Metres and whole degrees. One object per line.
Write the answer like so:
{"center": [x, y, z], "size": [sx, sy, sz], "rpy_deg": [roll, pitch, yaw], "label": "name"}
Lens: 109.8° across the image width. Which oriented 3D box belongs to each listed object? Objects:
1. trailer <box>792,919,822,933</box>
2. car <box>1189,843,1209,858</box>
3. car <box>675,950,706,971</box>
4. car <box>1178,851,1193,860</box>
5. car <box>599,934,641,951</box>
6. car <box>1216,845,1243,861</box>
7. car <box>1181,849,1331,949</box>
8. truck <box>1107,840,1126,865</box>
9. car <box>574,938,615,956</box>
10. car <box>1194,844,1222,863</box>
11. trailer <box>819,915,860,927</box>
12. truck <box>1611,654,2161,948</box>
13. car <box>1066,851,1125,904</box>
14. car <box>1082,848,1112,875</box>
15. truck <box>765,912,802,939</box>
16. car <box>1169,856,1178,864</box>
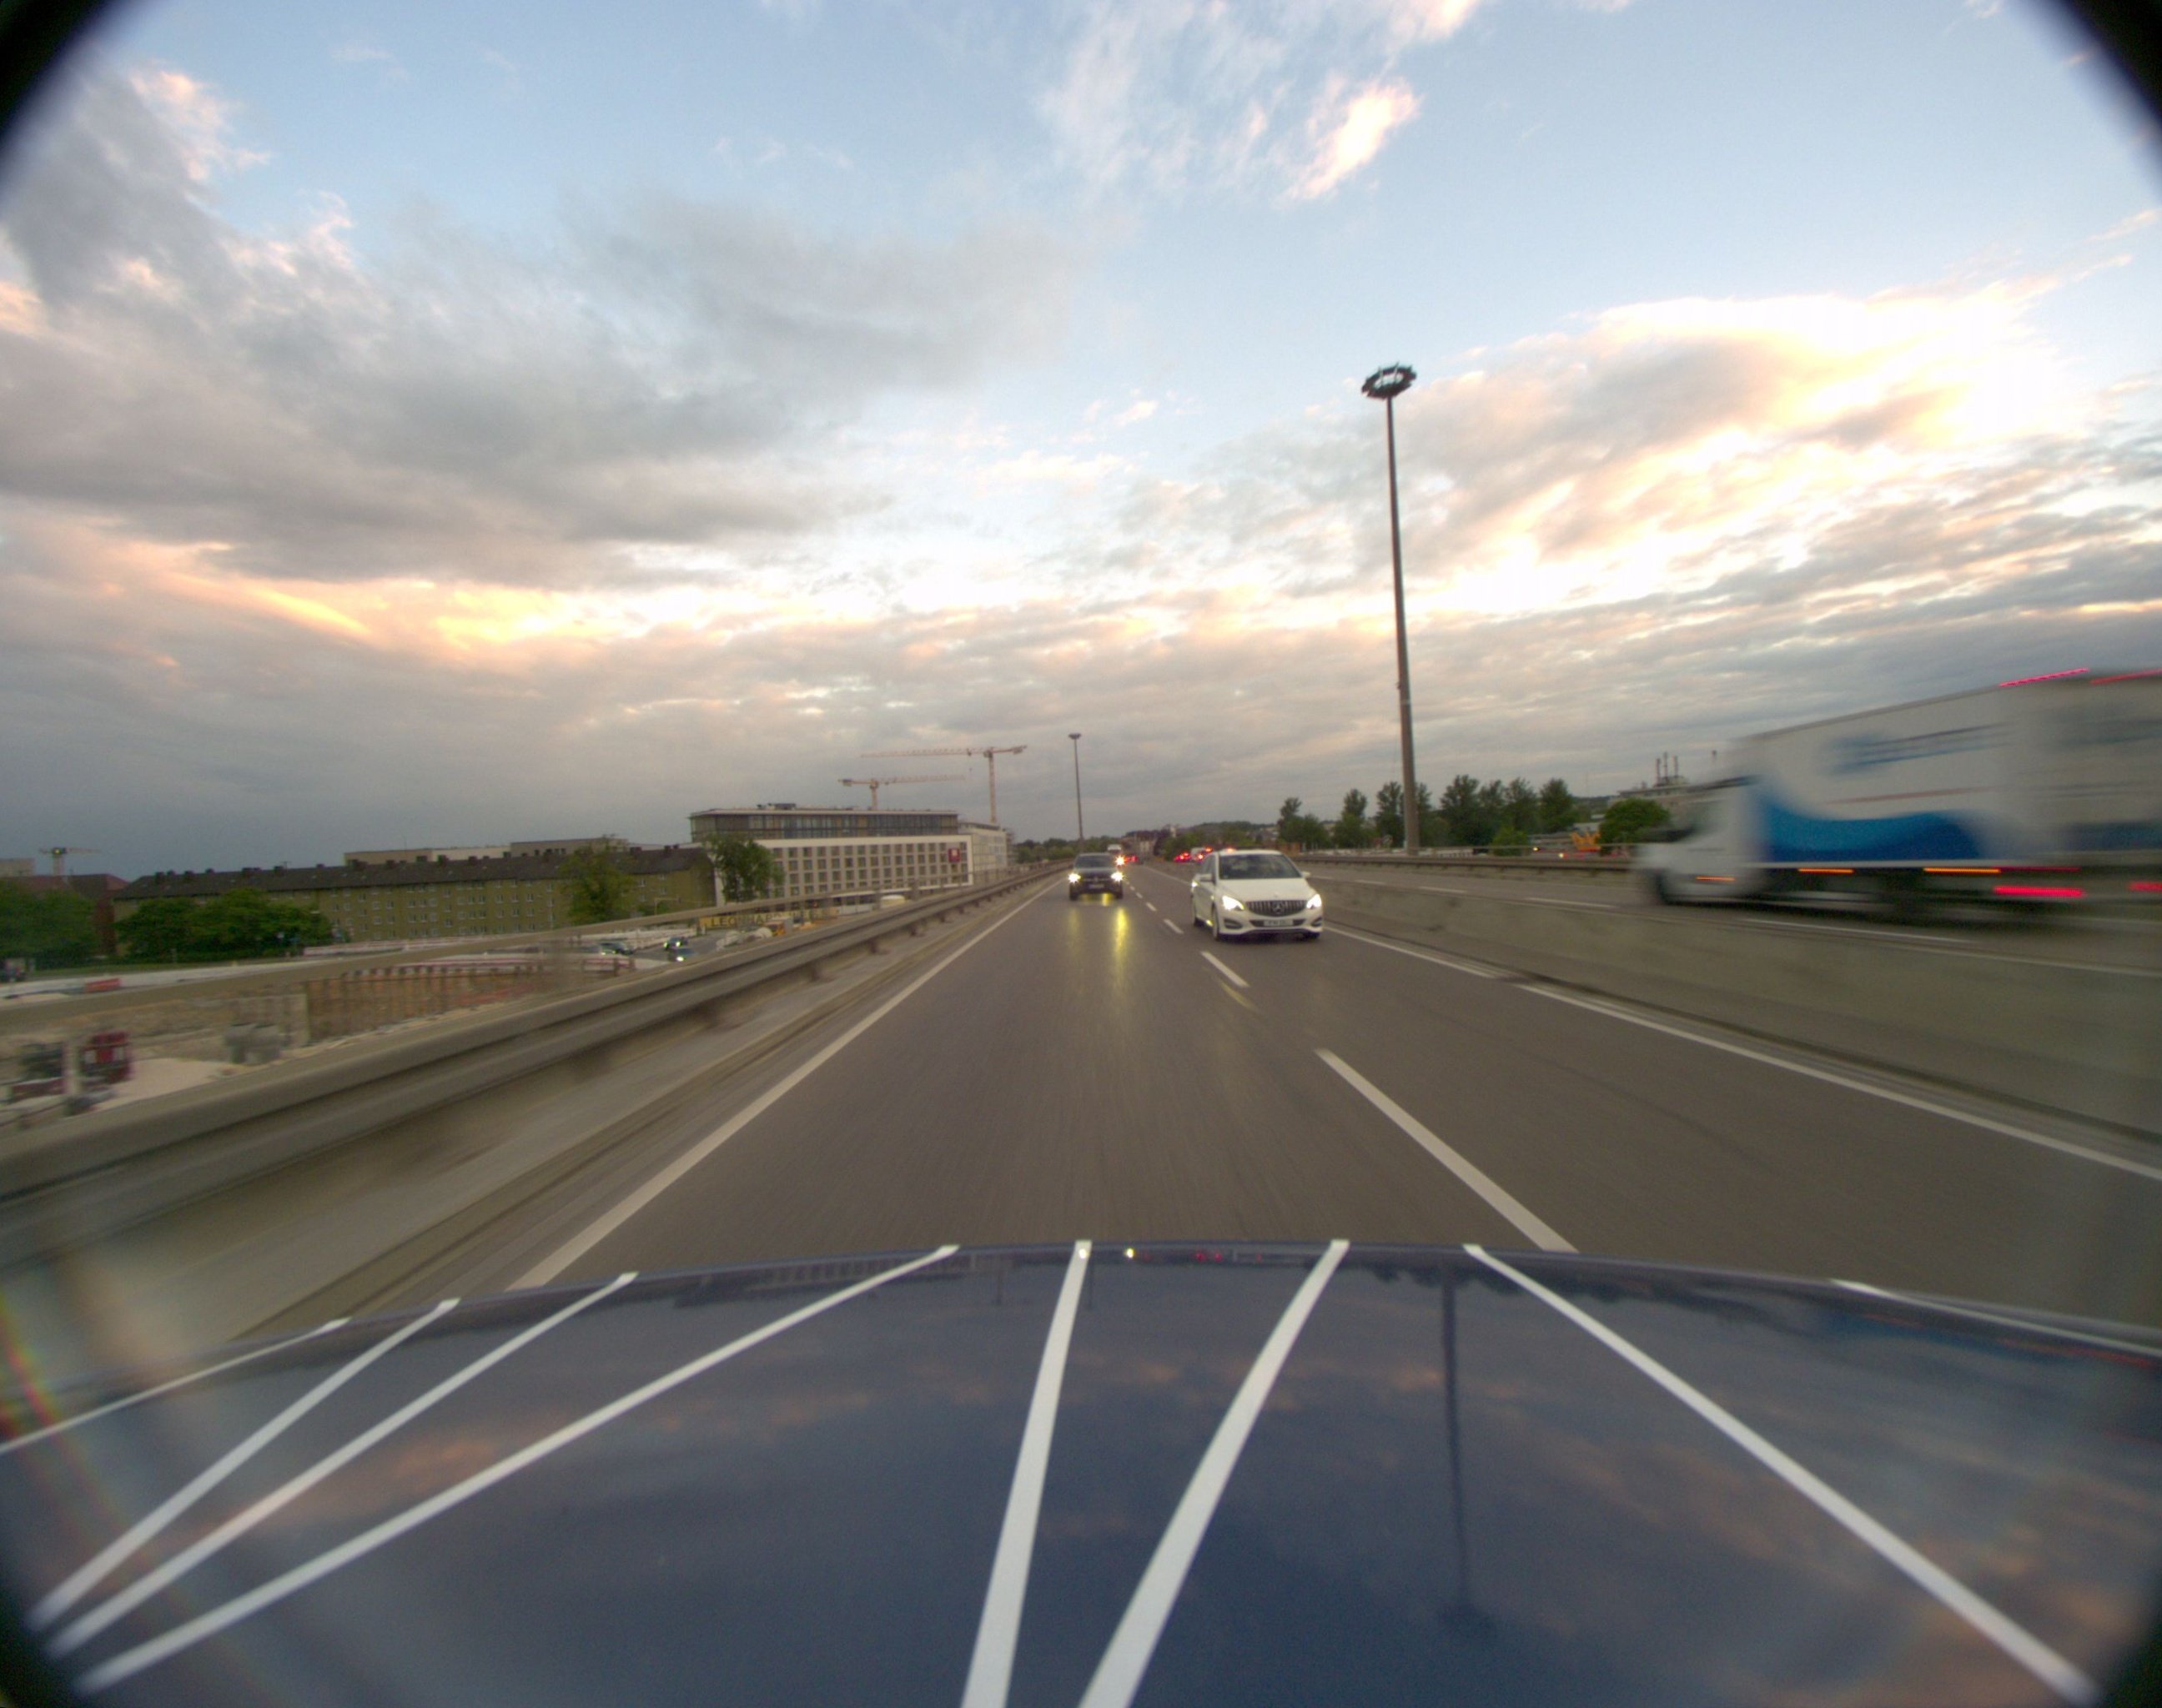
{"center": [-40.208, 10.557, 111.674], "size": [1.998, 1.339, 5.874], "rpy_deg": [-8, -1, 3], "label": "trailer"}
{"center": [16.027, -0.516, 103.284], "size": [1.906, 1.889, 5.459], "rpy_deg": [-2, 0, 1], "label": "car"}
{"center": [-41.212, 11.193, 80.077], "size": [2.003, 1.865, 5.083], "rpy_deg": [-4, -4, -36], "label": "car"}
{"center": [17.485, 0.296, 126.850], "size": [1.833, 1.465, 4.901], "rpy_deg": [-2, 0, 1], "label": "car"}
{"center": [-55.149, 10.556, 90.860], "size": [4.095, 1.710, 1.804], "rpy_deg": [-2, 3, 12], "label": "car"}
{"center": [14.050, -0.115, 72.157], "size": [1.835, 1.494, 4.817], "rpy_deg": [-1, 0, 2], "label": "car"}
{"center": [3.085, 0.737, 14.406], "size": [1.695, 1.528, 4.784], "rpy_deg": [-2, -1, 0], "label": "car"}
{"center": [6.570, -0.337, 139.262], "size": [3.164, 4.369, 8.795], "rpy_deg": [-2, 1, 5], "label": "truck"}
{"center": [-55.144, 10.567, 86.144], "size": [3.788, 1.729, 1.647], "rpy_deg": [-4, 1, 16], "label": "car"}
{"center": [10.432, -0.029, 62.675], "size": [1.633, 1.432, 3.836], "rpy_deg": [-2, 0, 1], "label": "car"}
{"center": [-37.128, 10.299, 116.958], "size": [5.876, 1.340, 2.024], "rpy_deg": [-2, 1, -16], "label": "trailer"}
{"center": [12.383, -0.658, 12.285], "size": [2.541, 3.278, 7.446], "rpy_deg": [-2, 1, 2], "label": "truck"}
{"center": [0.532, 0.729, 25.899], "size": [1.823, 1.602, 4.213], "rpy_deg": [-1, 0, 2], "label": "car"}
{"center": [1.023, 0.528, 50.639], "size": [1.891, 1.641, 4.344], "rpy_deg": [-2, -1, 0], "label": "car"}
{"center": [-40.653, 9.684, 104.096], "size": [2.163, 2.930, 7.336], "rpy_deg": [-5, -1, -3], "label": "truck"}
{"center": [19.770, 1.334, 162.972], "size": [1.660, 1.584, 4.043], "rpy_deg": [-2, 1, 3], "label": "car"}
